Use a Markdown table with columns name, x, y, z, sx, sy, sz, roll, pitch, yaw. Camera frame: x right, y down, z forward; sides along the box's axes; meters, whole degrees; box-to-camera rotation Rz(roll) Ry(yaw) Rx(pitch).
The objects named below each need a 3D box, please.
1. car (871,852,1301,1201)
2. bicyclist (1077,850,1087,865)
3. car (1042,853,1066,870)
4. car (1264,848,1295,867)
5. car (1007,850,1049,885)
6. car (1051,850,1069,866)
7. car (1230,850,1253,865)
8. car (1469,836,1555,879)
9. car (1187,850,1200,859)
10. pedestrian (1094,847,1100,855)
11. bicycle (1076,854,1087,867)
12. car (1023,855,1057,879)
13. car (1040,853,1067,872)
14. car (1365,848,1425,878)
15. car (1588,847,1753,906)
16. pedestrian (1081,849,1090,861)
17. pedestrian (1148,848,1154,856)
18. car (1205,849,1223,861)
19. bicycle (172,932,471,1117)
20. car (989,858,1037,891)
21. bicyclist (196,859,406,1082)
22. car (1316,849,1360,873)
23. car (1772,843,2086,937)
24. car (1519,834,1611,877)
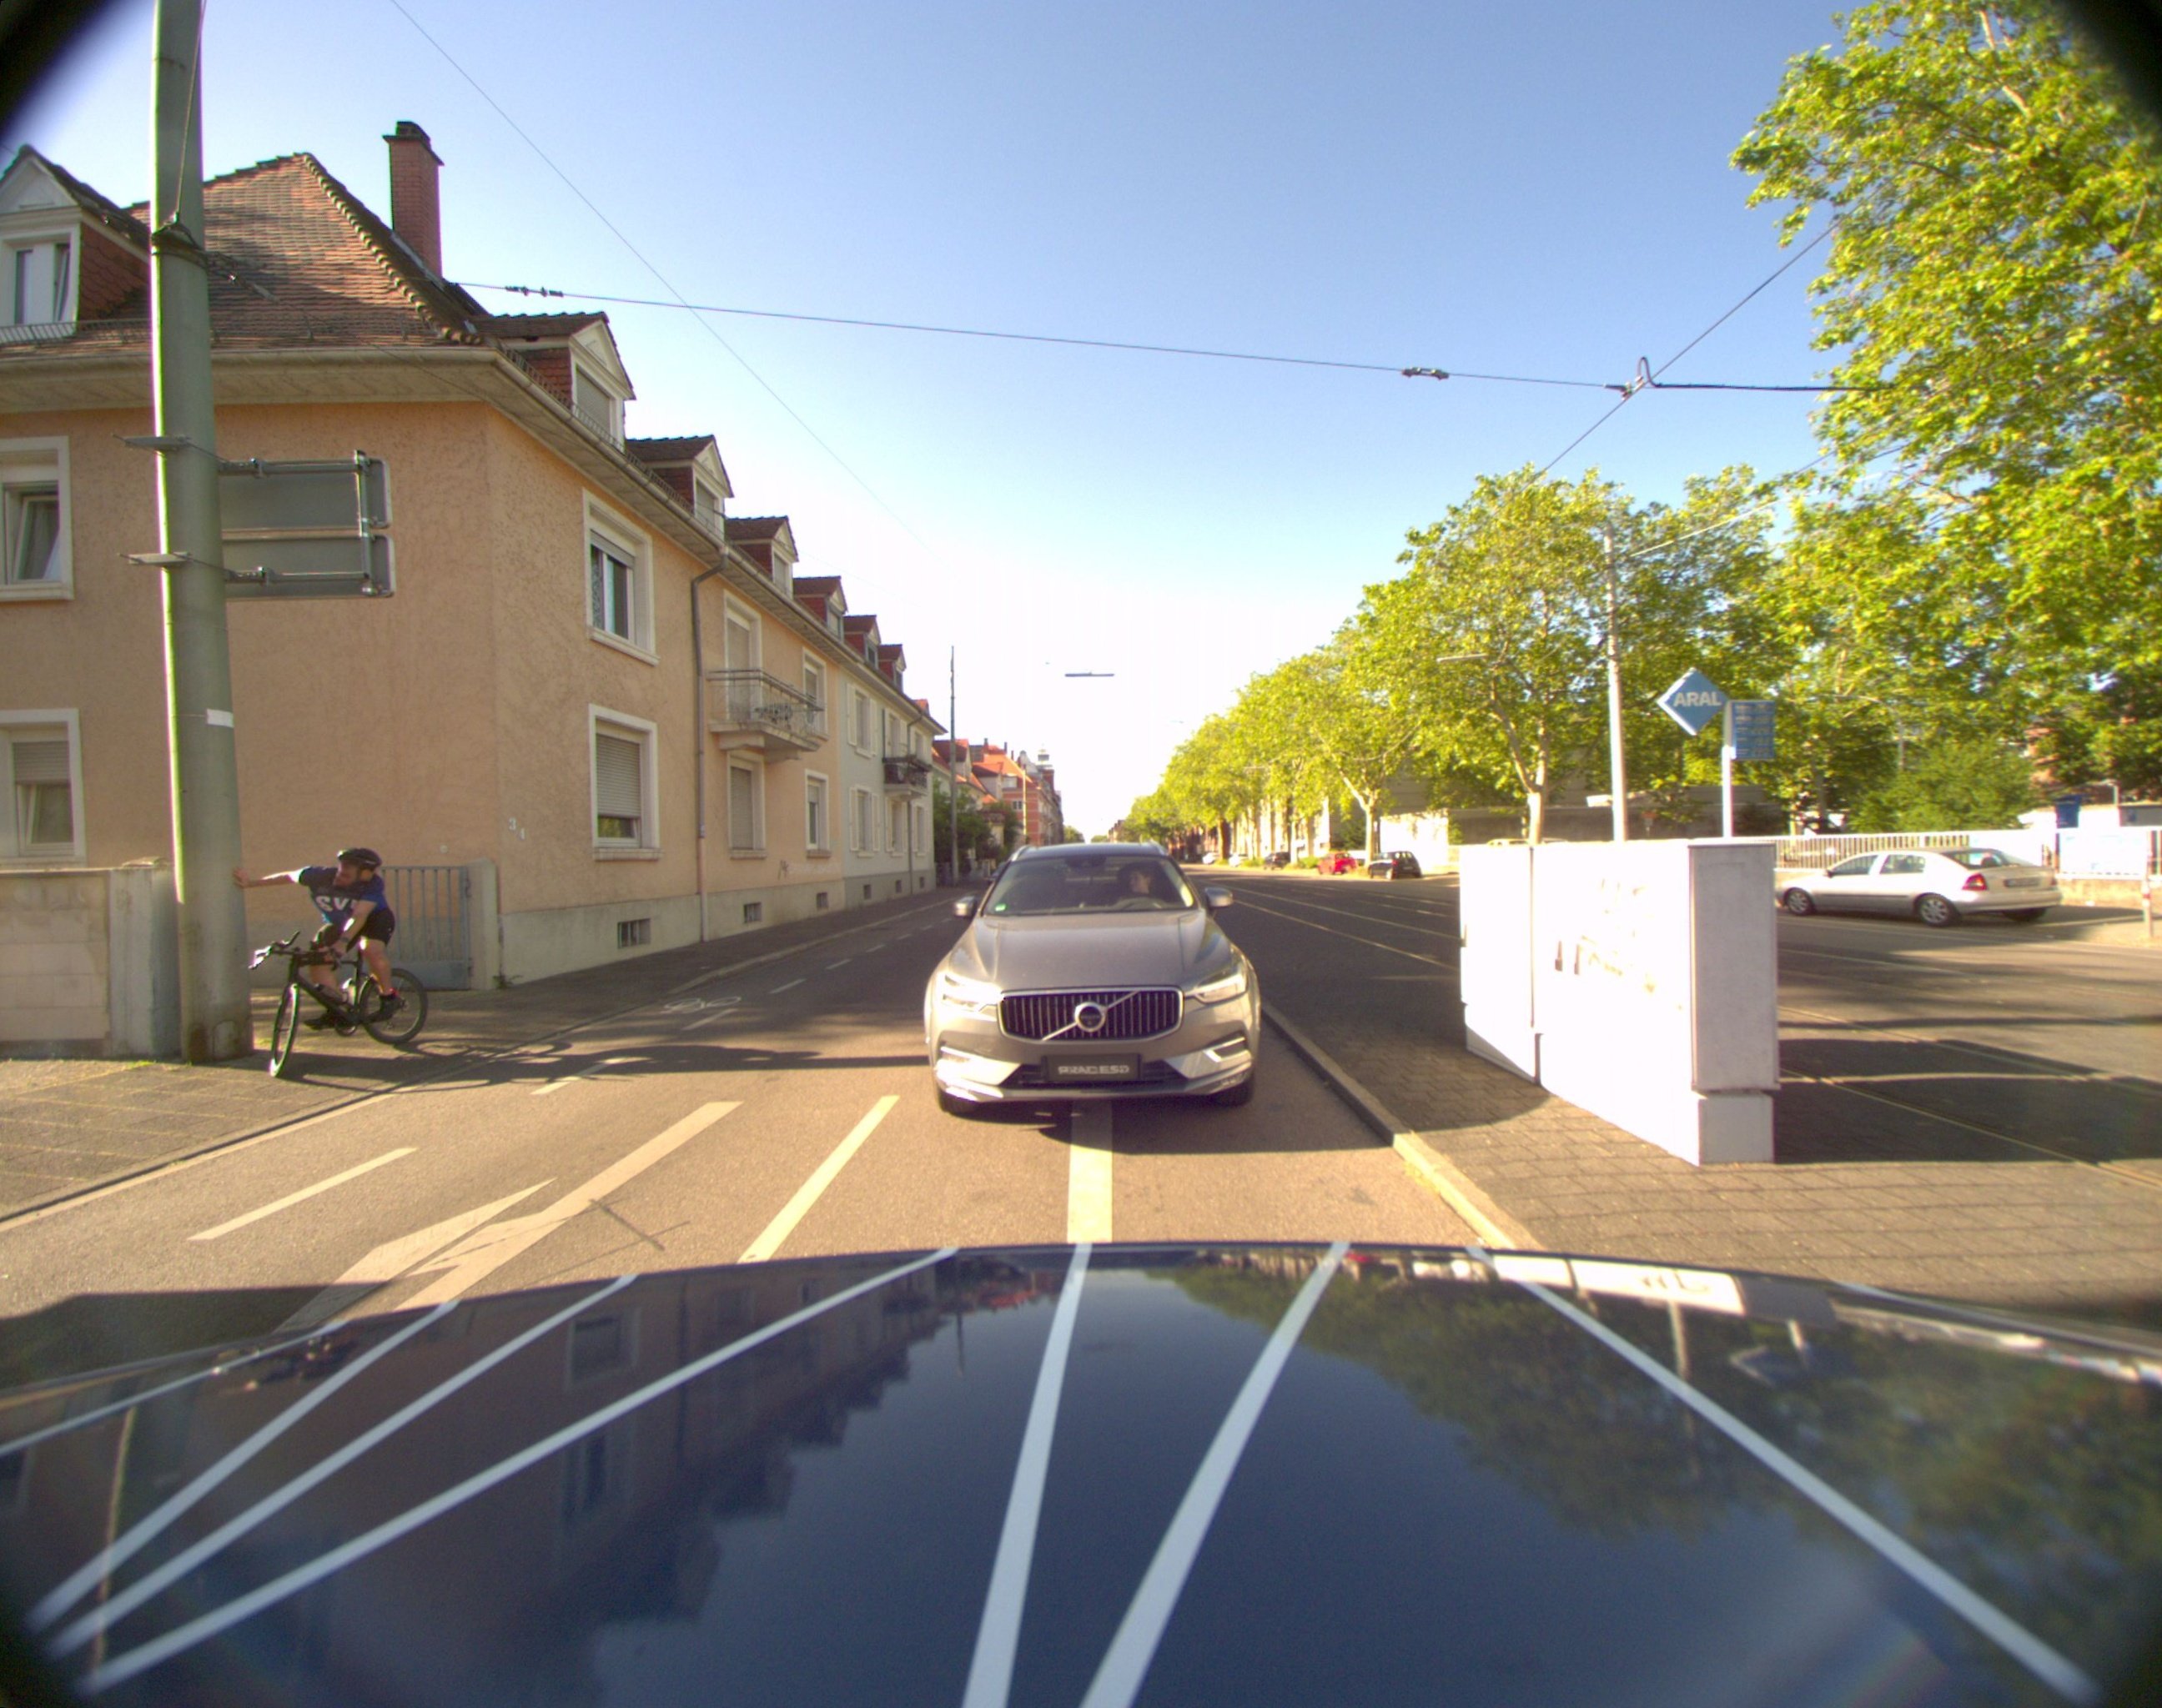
| name | x | y | z | sx | sy | sz | roll | pitch | yaw |
| --- | --- | --- | --- | --- | --- | --- | --- | --- | --- |
| car | 0.056 | 0.815 | 5.937 | 1.998 | 1.609 | 4.697 | -1 | 0 | 1 |
| bicyclist | 0.078 | 0.374 | 81.561 | 1.054 | 1.496 | 1.250 | -1 | 1 | 1 |
| car | -2.350 | 0.614 | 66.368 | 1.867 | 1.399 | 4.078 | -1 | 0 | 1 |
| car | 17.176 | 0.288 | 65.921 | 1.758 | 1.536 | 3.858 | -3 | 0 | 3 |
| car | -2.911 | 0.697 | 42.837 | 1.867 | 1.778 | 5.297 | -1 | 0 | 1 |
| car | -2.320 | 0.423 | 85.457 | 1.867 | 1.653 | 4.078 | -1 | 0 | 1 |
| car | 17.583 | 0.348 | 83.348 | 1.758 | 1.475 | 3.858 | -3 | 0 | 3 |
| car | 21.813 | 0.165 | 38.646 | 1.999 | 2.002 | 3.999 | -1 | 0 | -1 |
| car | 18.514 | 0.045 | 125.298 | 1.758 | 1.475 | 3.858 | -3 | 0 | 3 |
| pedestrian | 4.919 | -0.856 | 239.074 | 1.791 | 2.481 | 1.901 | -1 | 1 | 2 |
| bicycle | 0.064 | 0.666 | 81.473 | 1.054 | 1.262 | 3.914 | -1 | 0 | 1 |
| car | -2.575 | 0.809 | 48.504 | 1.867 | 1.399 | 4.078 | -1 | 0 | 1 |
| car | -2.129 | 0.661 | 60.063 | 1.867 | 1.399 | 4.078 | -1 | 0 | 1 |
| car | 16.894 | 0.455 | 41.047 | 1.758 | 1.449 | 3.858 | -3 | 0 | 3 |
| car | 16.480 | 0.567 | 21.520 | 1.745 | 1.389 | 3.858 | -4 | 0 | 3 |
| pedestrian | 0.830 | 0.199 | 127.549 | 1.457 | 2.002 | 1.193 | -1 | 1 | 0 |
| pedestrian | 19.605 | -0.566 | 213.142 | 1.686 | 2.002 | 1.761 | -1 | 1 | 1 |
| car | 17.677 | 0.154 | 100.942 | 1.758 | 1.475 | 3.858 | -3 | 0 | 3 |
| bicycle | -5.997 | 1.275 | 6.174 | 0.550 | 1.056 | 1.794 | 4 | 0 | 1 |
| car | -3.234 | 0.960 | 37.083 | 1.867 | 1.399 | 4.424 | -1 | 0 | 1 |
| bicyclist | -6.147 | 0.856 | 6.059 | 0.562 | 1.607 | 1.016 | -1 | 1 | 1 |
| car | 16.907 | 0.446 | 50.189 | 1.717 | 1.421 | 3.858 | -3 | 0 | 3 |
| car | 16.239 | 0.607 | 14.913 | 1.847 | 1.477 | 3.858 | -4 | 0 | 2 |
| car | 24.161 | 0.077 | 38.105 | 1.999 | 2.002 | 3.999 | -1 | 0 | -1 |
